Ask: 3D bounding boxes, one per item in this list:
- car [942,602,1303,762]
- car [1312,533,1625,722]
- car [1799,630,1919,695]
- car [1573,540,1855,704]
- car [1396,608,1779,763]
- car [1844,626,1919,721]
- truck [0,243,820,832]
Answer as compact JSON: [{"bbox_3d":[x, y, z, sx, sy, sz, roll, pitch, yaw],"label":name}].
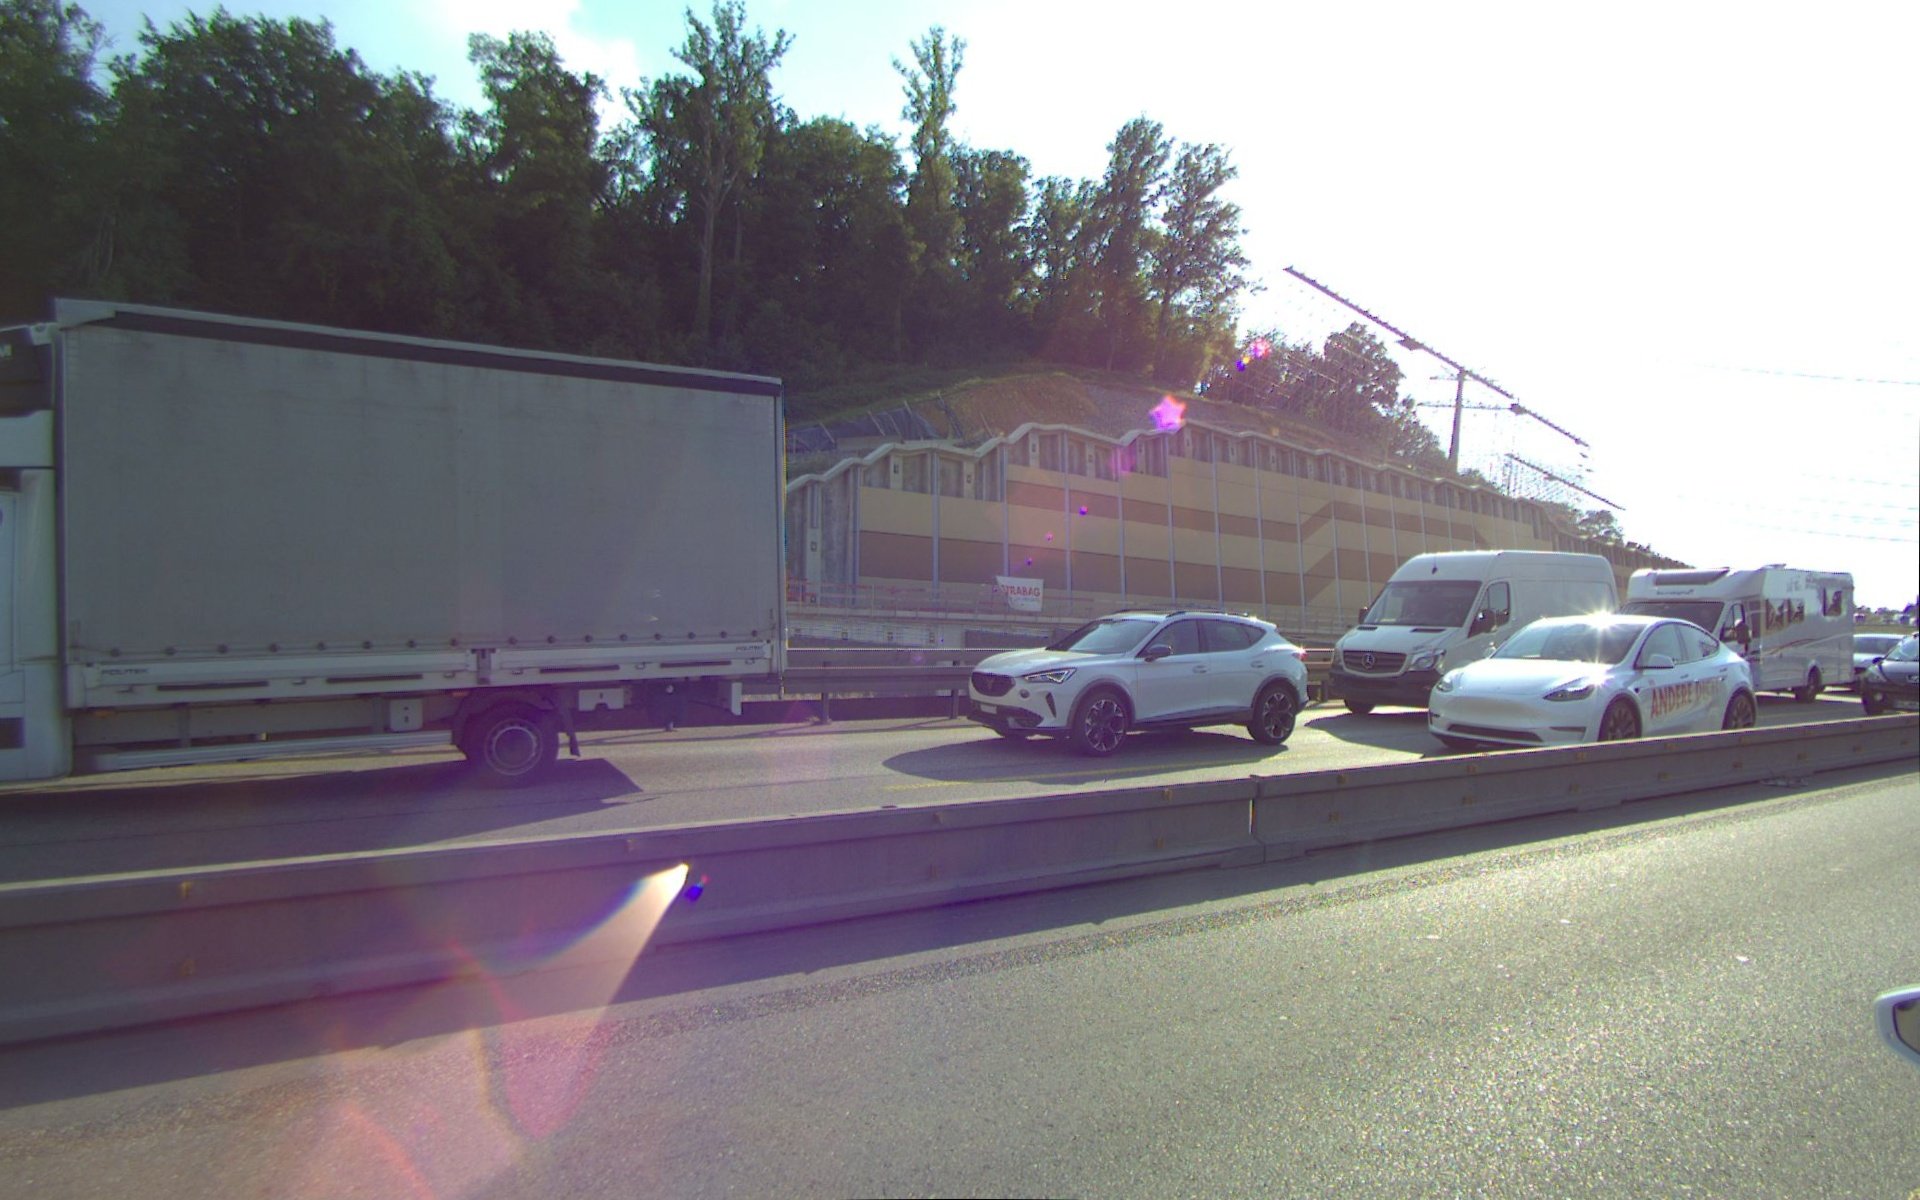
[{"bbox_3d":[1.938,0.862,11.644,3.958,1.543,1.754,2,0,-32],"label":"car"},{"bbox_3d":[8.449,0.495,16.466,5.685,2.655,1.946,2,-2,-32],"label":"car"},{"bbox_3d":[22.968,1.533,25.157,4.560,1.441,1.738,2,0,-33],"label":"car"},{"bbox_3d":[16.080,0.544,21.214,7.551,2.956,2.321,2,-2,-33],"label":"car"},{"bbox_3d":[7.541,0.906,11.955,4.675,1.506,2.047,1,-3,-33],"label":"car"},{"bbox_3d":[17.975,1.309,18.301,3.956,1.542,1.772,0,1,-33],"label":"car"},{"bbox_3d":[-5.078,-0.332,7.810,7.530,3.508,2.435,2,-1,-31],"label":"truck"}]
